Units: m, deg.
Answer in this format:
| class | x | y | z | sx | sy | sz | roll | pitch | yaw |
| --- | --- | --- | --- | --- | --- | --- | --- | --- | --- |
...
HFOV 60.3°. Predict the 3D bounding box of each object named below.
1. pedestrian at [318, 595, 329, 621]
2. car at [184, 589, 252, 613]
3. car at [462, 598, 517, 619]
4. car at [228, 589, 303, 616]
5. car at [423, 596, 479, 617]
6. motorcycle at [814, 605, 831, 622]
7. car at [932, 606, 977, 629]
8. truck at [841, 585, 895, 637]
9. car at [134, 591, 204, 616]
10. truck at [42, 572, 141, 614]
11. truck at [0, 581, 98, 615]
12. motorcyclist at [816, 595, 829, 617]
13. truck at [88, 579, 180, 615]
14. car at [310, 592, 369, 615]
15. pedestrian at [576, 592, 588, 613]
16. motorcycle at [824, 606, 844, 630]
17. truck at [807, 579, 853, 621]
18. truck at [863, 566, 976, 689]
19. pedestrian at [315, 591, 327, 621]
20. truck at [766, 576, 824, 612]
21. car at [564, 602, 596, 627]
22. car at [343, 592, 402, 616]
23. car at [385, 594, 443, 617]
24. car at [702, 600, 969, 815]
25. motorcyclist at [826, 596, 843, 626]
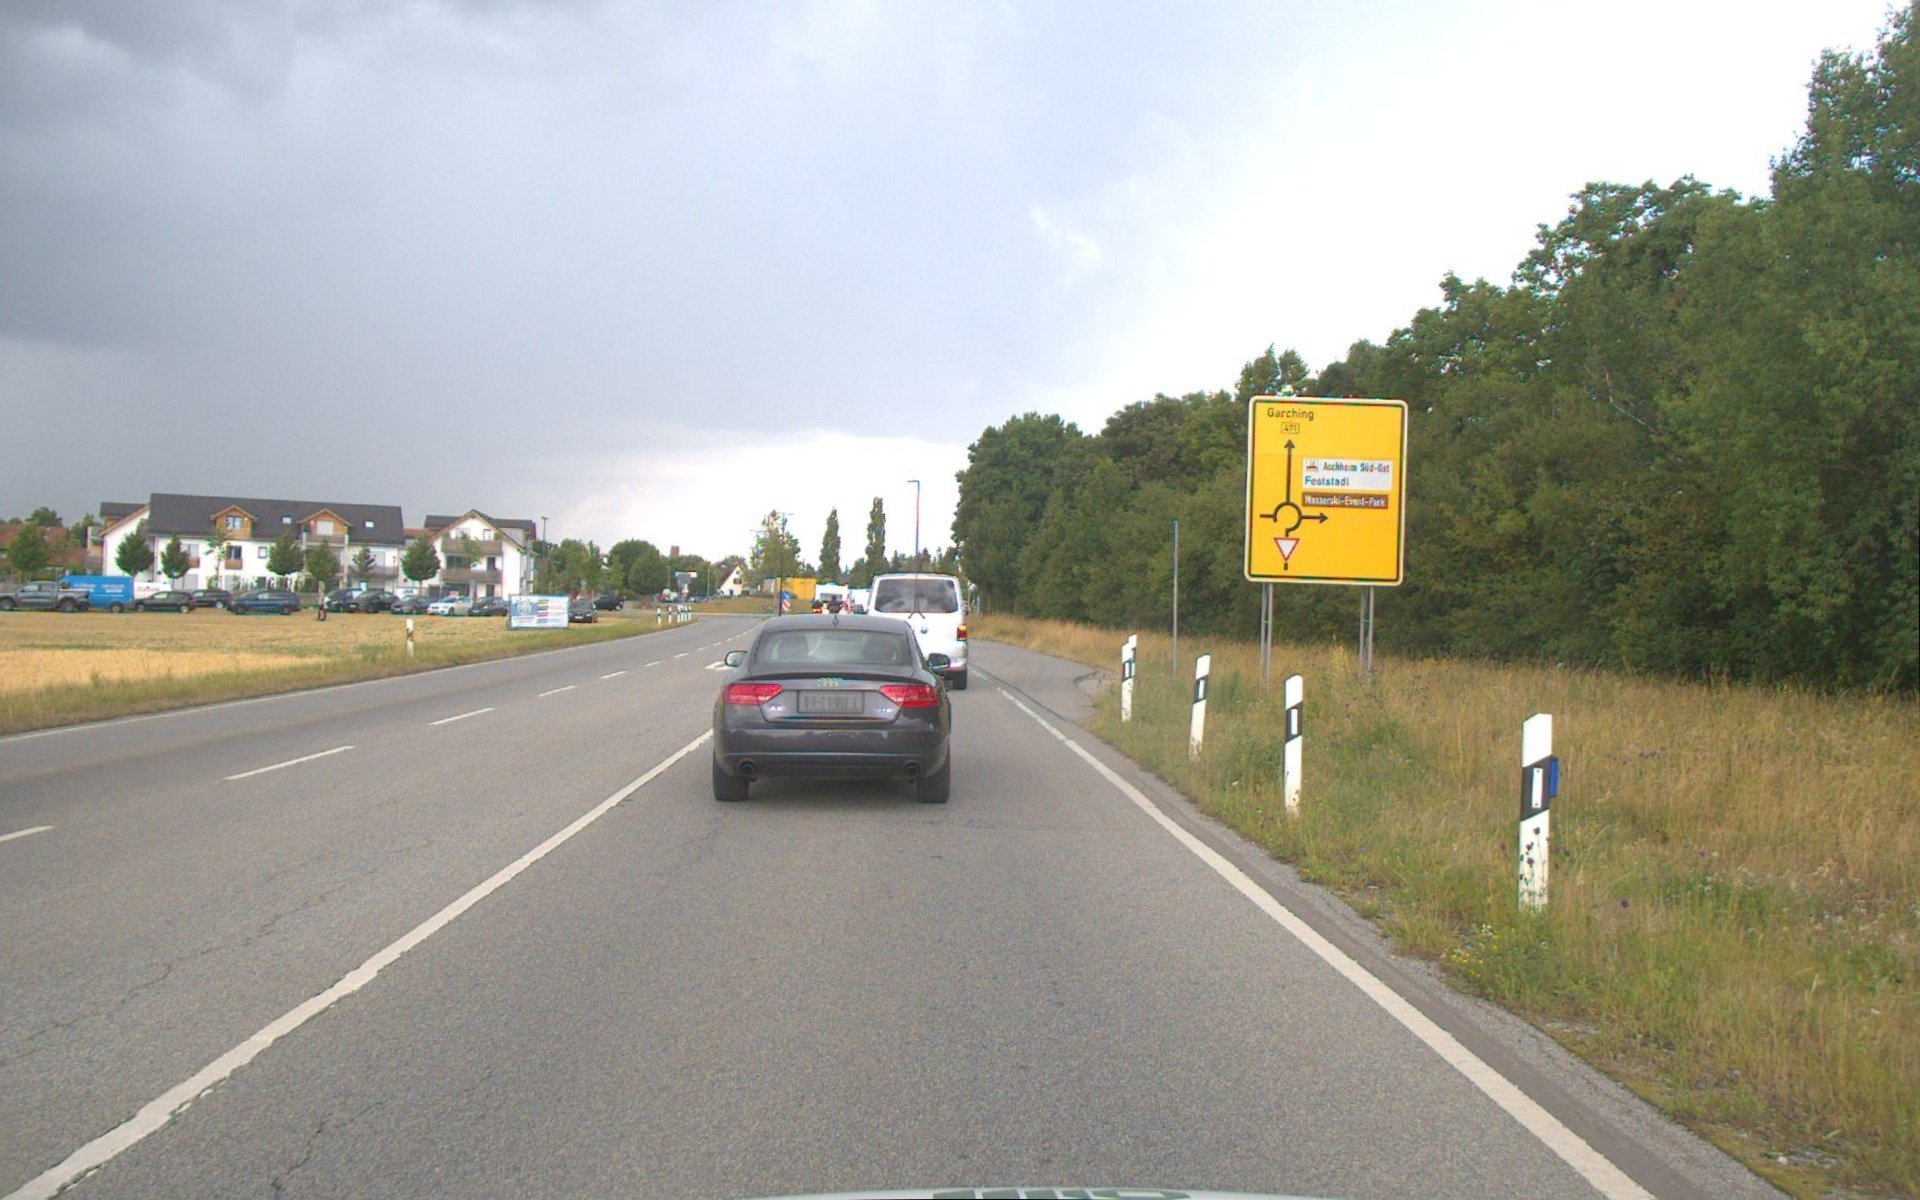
| class | x | y | z | sx | sy | sz | roll | pitch | yaw |
| --- | --- | --- | --- | --- | --- | --- | --- | --- | --- |
| pedestrian | -38.901 | 0.465 | 101.024 | 0.581 | 1.583 | 0.622 | 1 | -1 | -22 |
| car | -55.311 | 0.084 | 123.412 | 4.564 | 1.727 | 1.985 | 1 | 0 | -24 |
| car | -33.912 | 0.616 | 119.313 | 1.951 | 1.471 | 4.214 | 1 | 0 | 15 |
| car | -46.990 | 0.149 | 111.940 | 4.653 | 1.727 | 1.985 | 1 | 0 | -24 |
| car | -36.769 | 0.472 | 119.537 | 1.951 | 1.471 | 4.214 | 1 | 0 | 15 |
| motorcycle | -8.745 | 0.871 | 105.160 | 0.927 | 1.037 | 2.279 | 1 | 0 | -9 |
| car | -0.545 | 1.710 | 159.700 | 3.903 | 2.049 | 2.001 | 2 | -1 | 17 |
| truck | -3.885 | 0.466 | 70.061 | 2.150 | 2.049 | 5.081 | 1 | 0 | -3 |
| car | -52.261 | 0.219 | 109.351 | 4.100 | 1.545 | 1.985 | 1 | 0 | -24 |
| truck | -54.802 | -0.408 | 104.507 | 5.381 | 2.489 | 2.374 | 1 | -1 | -27 |
| truck | -55.248 | -0.104 | 100.288 | 5.171 | 1.954 | 2.091 | 1 | -1 | -30 |
| motorcyclist | -8.758 | 0.356 | 105.178 | 0.771 | 1.380 | 0.852 | 1 | 0 | -9 |
| truck | -55.870 | -0.191 | 111.988 | 5.497 | 2.235 | 2.585 | 1 | 0 | -27 |
| car | -45.748 | 0.248 | 121.962 | 1.951 | 1.657 | 4.214 | 1 | 0 | 15 |
| pedestrian | -29.511 | 0.207 | 129.166 | 0.686 | 1.613 | 0.658 | 1 | -1 | 13 |
| motorcycle | -6.154 | 0.868 | 81.014 | 0.901 | 1.113 | 2.187 | 1 | 0 | -3 |
| truck | -9.163 | 0.020 | 116.190 | 2.578 | 2.785 | 5.853 | 2 | 0 | -10 |
| truck | -0.803 | 0.468 | 30.090 | 1.866 | 2.033 | 4.625 | 1 | 0 | -3 |
| pedestrian | -38.675 | 0.347 | 100.128 | 0.539 | 1.817 | 0.675 | 1 | -1 | -15 |
| truck | -17.765 | -0.645 | 177.436 | 3.525 | 3.641 | 9.893 | 2 | 0 | -21 |
| car | -24.706 | 0.925 | 107.504 | 1.960 | 1.467 | 3.986 | 1 | 0 | -14 |
| car | -42.615 | 0.297 | 120.041 | 1.951 | 1.657 | 4.214 | 1 | 0 | 15 |
| car | -39.497 | 0.416 | 119.779 | 1.951 | 1.562 | 4.214 | 1 | 0 | 15 |
| car | -0.996 | 0.754 | 13.597 | 1.838 | 1.479 | 4.173 | 1 | 0 | -4 |
| motorcyclist | -6.151 | 0.530 | 80.927 | 0.756 | 1.408 | 0.819 | 1 | -1 | -3 |
